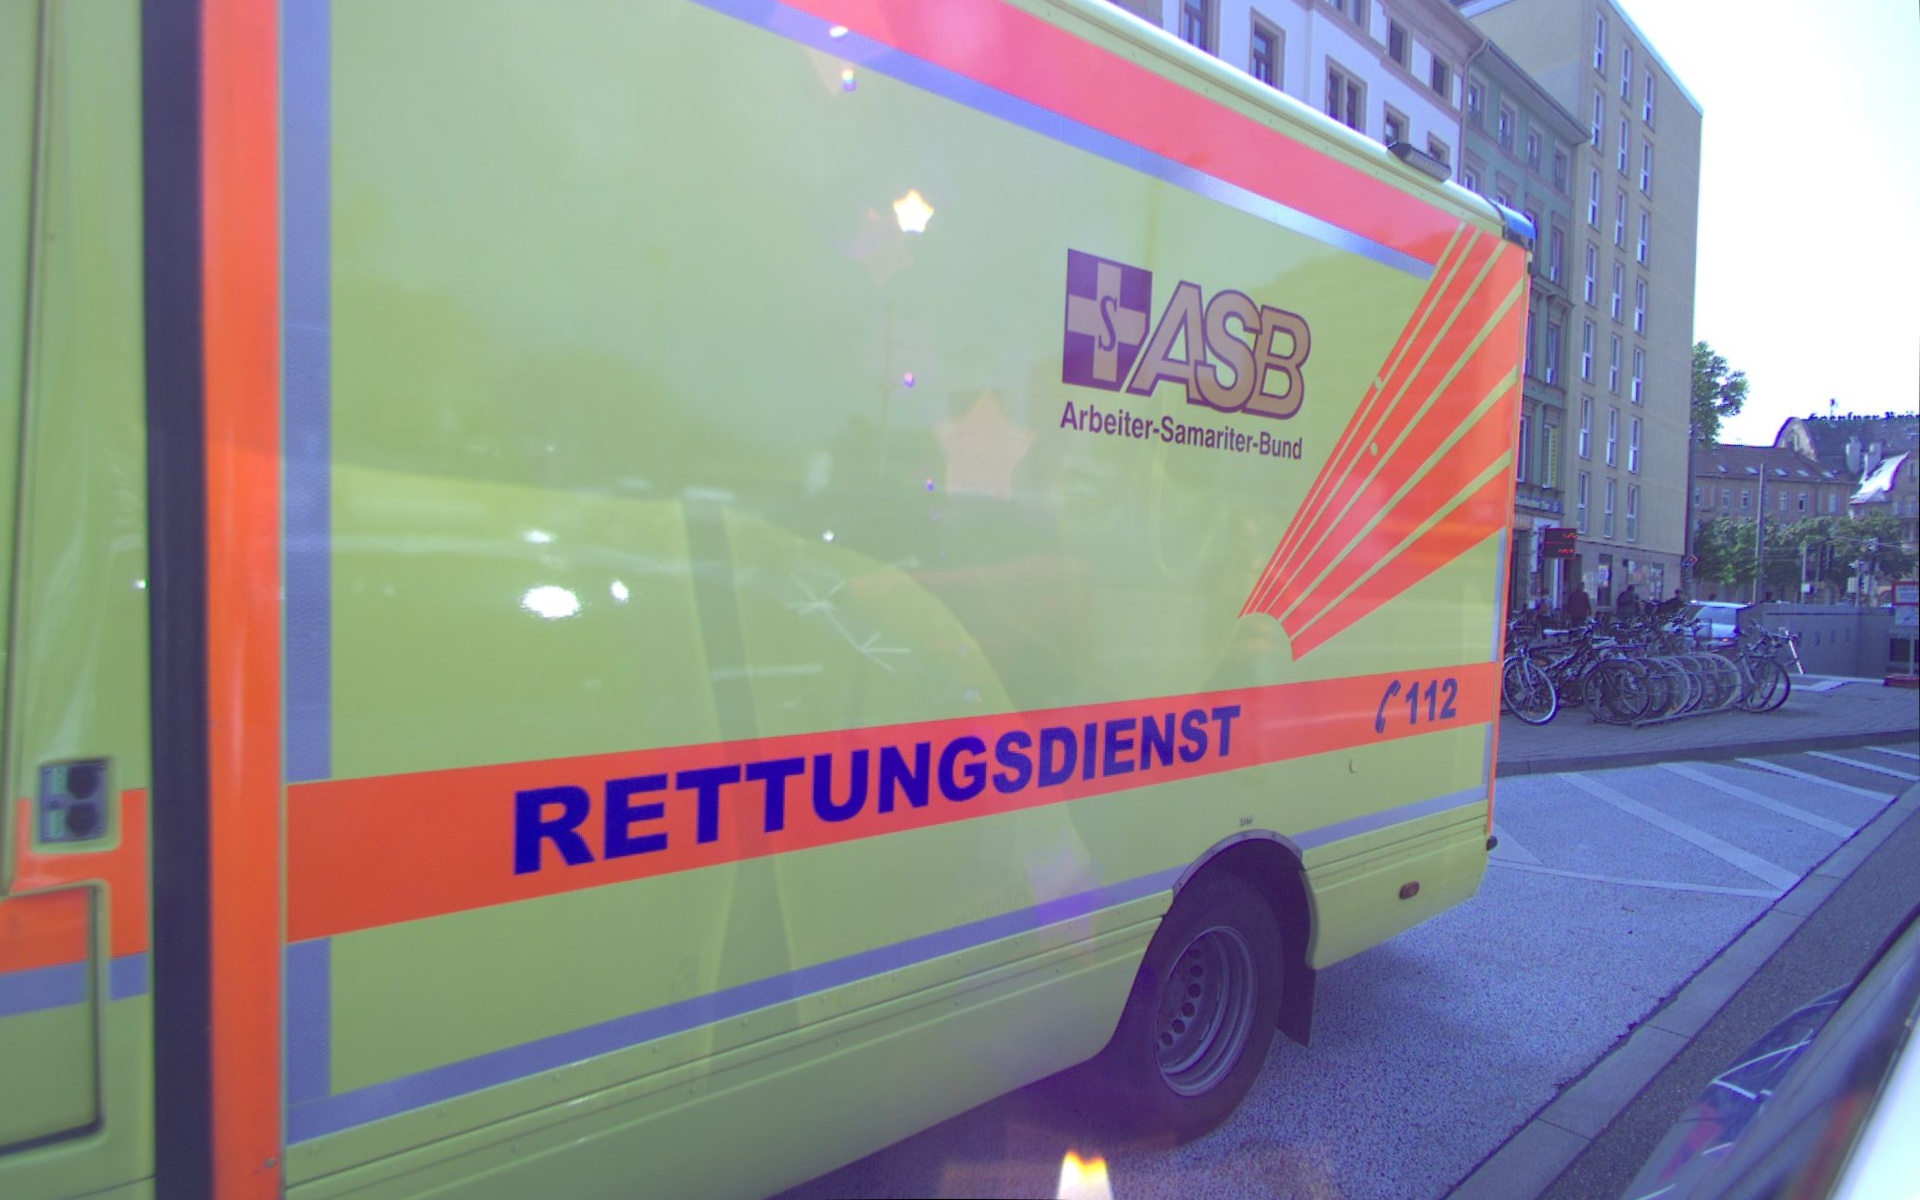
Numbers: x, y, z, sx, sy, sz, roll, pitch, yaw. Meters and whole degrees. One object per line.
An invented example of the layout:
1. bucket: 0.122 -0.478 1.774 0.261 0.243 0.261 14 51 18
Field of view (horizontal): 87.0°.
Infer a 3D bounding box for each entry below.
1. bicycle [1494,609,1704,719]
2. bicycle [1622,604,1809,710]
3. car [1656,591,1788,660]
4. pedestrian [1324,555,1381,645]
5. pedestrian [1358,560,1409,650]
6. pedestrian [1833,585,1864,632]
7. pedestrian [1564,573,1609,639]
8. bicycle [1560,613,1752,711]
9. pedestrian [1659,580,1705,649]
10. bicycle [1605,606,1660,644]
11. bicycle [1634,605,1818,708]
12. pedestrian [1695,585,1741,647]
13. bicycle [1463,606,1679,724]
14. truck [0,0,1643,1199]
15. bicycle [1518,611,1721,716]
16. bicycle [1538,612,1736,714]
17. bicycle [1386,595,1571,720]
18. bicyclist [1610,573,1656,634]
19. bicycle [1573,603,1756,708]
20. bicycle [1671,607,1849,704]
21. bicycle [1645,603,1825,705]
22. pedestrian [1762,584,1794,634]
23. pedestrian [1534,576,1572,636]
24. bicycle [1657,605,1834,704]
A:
1. bicycle: 6.972 0.653 11.121 0.646 1.074 1.841 1 0 -40
2. bicycle: 9.509 0.673 12.806 0.427 1.219 1.841 1 0 -40
3. car: 18.644 0.577 24.724 3.864 1.444 1.667 0 4 -40
4. pedestrian: 8.248 -0.013 21.251 0.913 1.826 0.726 0 2 -44
5. pedestrian: 8.642 0.090 20.670 0.644 1.793 0.784 4 2 45
6. pedestrian: 32.495 0.307 37.001 0.782 1.648 0.646 1 2 -38
7. pedestrian: 17.274 0.157 27.918 0.866 1.755 0.771 1 2 -41
8. bicycle: 8.503 0.714 12.436 0.646 1.070 1.841 1 0 -40
9. pedestrian: 19.289 0.389 27.053 0.781 1.780 0.690 1 2 -33
10. bicycle: 18.200 0.671 27.372 1.965 0.965 0.720 1 1 -40
11. bicycle: 9.843 0.684 13.074 0.427 1.219 1.841 1 0 -40
12. pedestrian: 20.889 0.439 27.898 0.780 1.648 0.647 1 2 -23
13. bicycle: 6.325 0.622 10.557 0.686 1.089 1.806 1 0 -40
14. truck: -1.052 -0.103 2.293 6.221 2.803 2.336 0 4 -38
15. bicycle: 7.489 0.681 11.571 0.646 1.066 1.841 1 0 -40
16. bicycle: 7.981 0.696 12.003 0.646 1.074 1.841 1 0 -40
17. bicycle: 5.444 0.559 10.695 0.678 1.200 1.607 1 0 -39
18. bicyclist: 18.206 0.095 27.365 1.083 1.606 0.720 1 1 -40
19. bicycle: 8.922 0.657 12.884 0.539 1.219 1.841 1 0 -40
20. bicycle: 11.030 0.721 14.013 0.626 1.219 1.841 1 0 -39
21. bicycle: 10.187 0.674 13.369 0.427 1.235 1.841 1 0 -40
22. pedestrian: 27.971 0.294 34.594 0.782 1.648 0.645 1 2 -40
23. pedestrian: 16.859 0.167 28.787 0.783 1.648 0.645 1 2 -41
24. bicycle: 10.553 0.699 13.664 0.427 1.219 1.841 1 0 -40
